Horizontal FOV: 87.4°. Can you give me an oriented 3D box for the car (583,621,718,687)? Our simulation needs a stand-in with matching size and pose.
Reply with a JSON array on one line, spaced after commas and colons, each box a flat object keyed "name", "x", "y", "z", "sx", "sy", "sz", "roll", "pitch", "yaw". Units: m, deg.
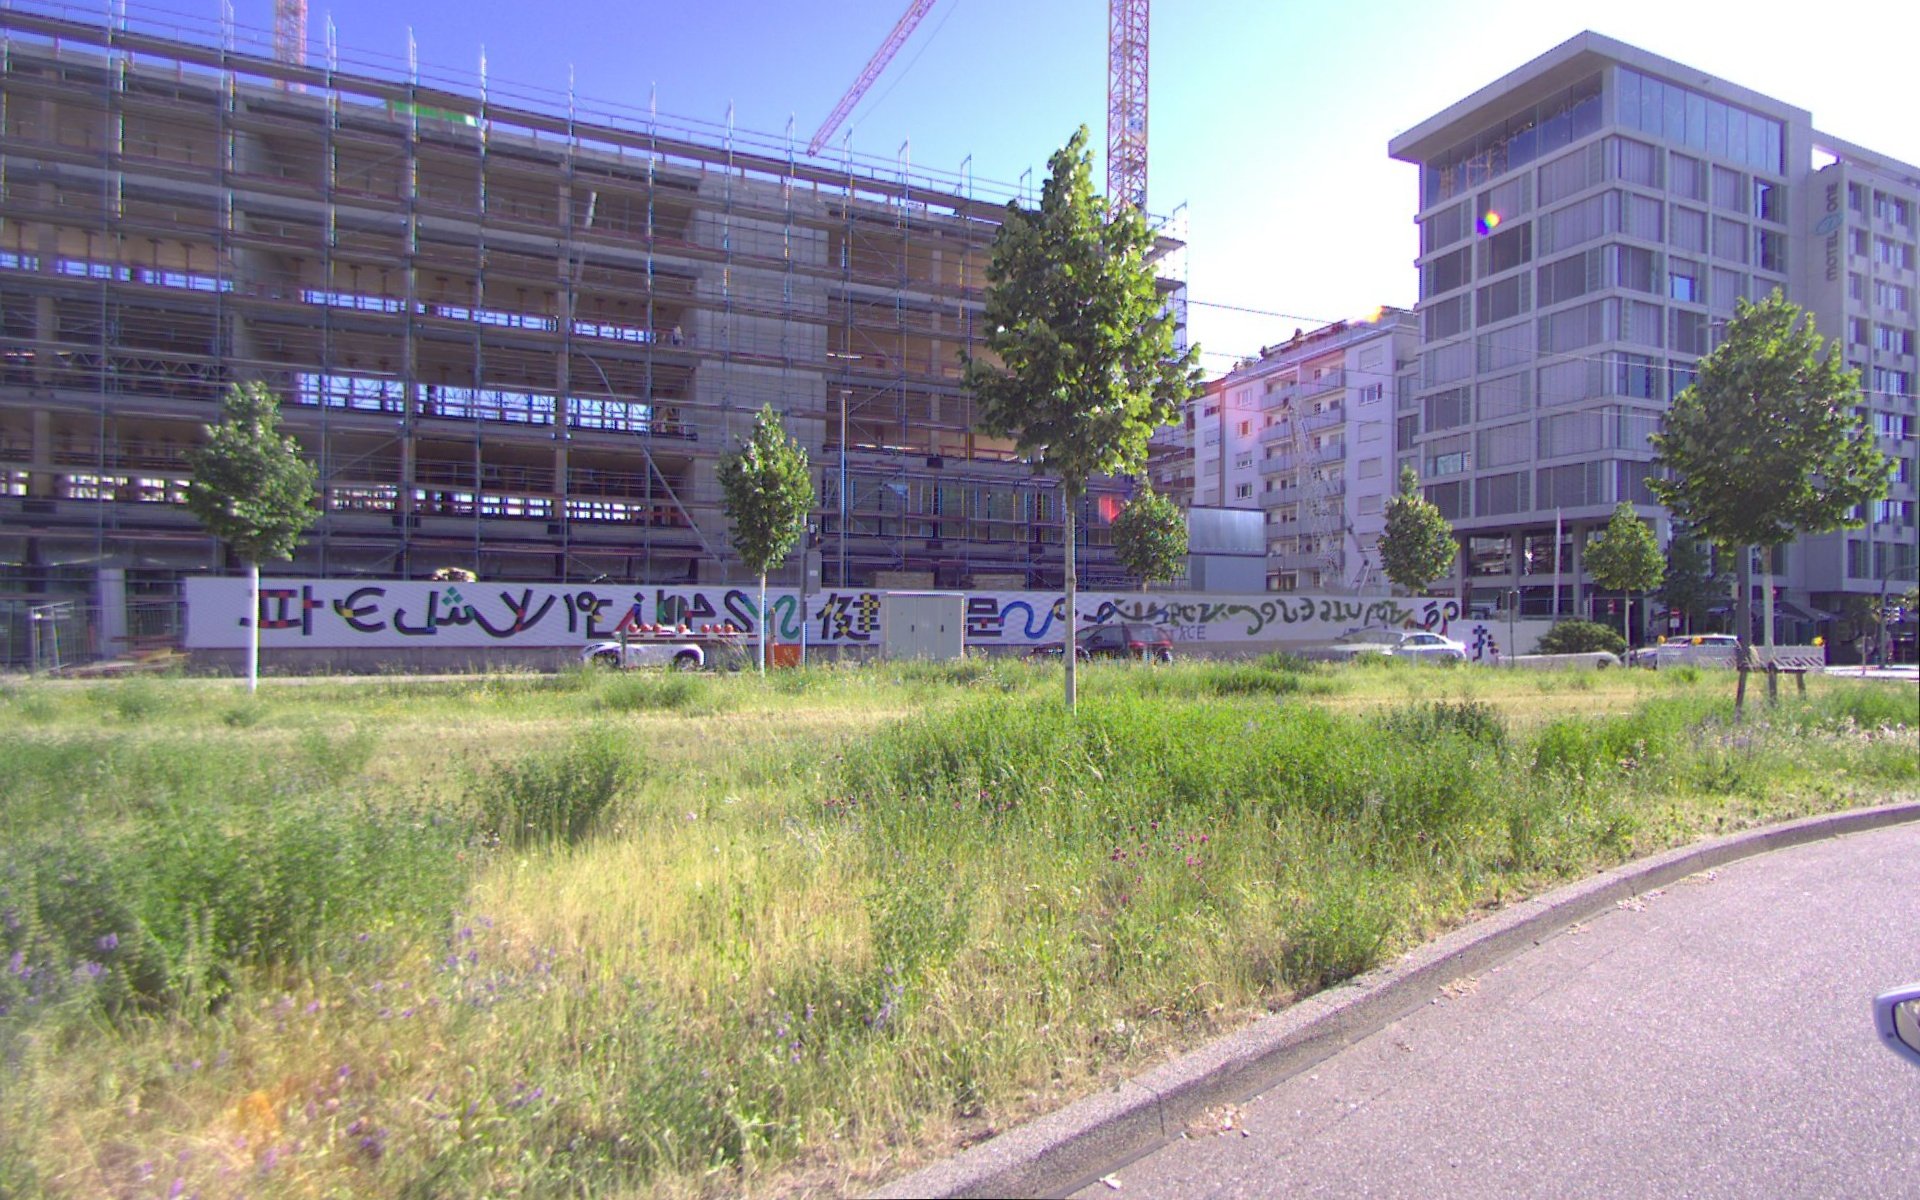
[{"name": "car", "x": -9.715, "y": 1.668, "z": 31.599, "sx": 3.925, "sy": 1.943, "sz": 1.907, "roll": 1, "pitch": -1, "yaw": -20}]

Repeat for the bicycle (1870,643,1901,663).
[{"name": "bicycle", "x": 52.154, "y": 2.987, "z": 56.600, "sx": 1.598, "sy": 1.115, "sz": 0.586, "roll": 2, "pitch": 1, "yaw": -20}]

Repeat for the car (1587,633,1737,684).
[{"name": "car", "x": 26.831, "y": 2.226, "z": 38.489, "sx": 4.440, "sy": 1.816, "sz": 1.999, "roll": 1, "pitch": -1, "yaw": -4}]

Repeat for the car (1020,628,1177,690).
[{"name": "car", "x": 4.316, "y": 1.806, "z": 31.431, "sx": 4.456, "sy": 1.816, "sz": 1.992, "roll": 1, "pitch": -1, "yaw": -19}]

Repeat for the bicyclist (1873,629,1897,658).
[{"name": "bicyclist", "x": 52.179, "y": 2.464, "z": 56.674, "sx": 0.879, "sy": 1.601, "sz": 0.592, "roll": 2, "pitch": 1, "yaw": -20}]

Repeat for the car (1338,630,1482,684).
[{"name": "car", "x": 15.966, "y": 1.999, "z": 35.696, "sx": 4.452, "sy": 1.816, "sz": 1.994, "roll": 1, "pitch": -1, "yaw": -16}]
